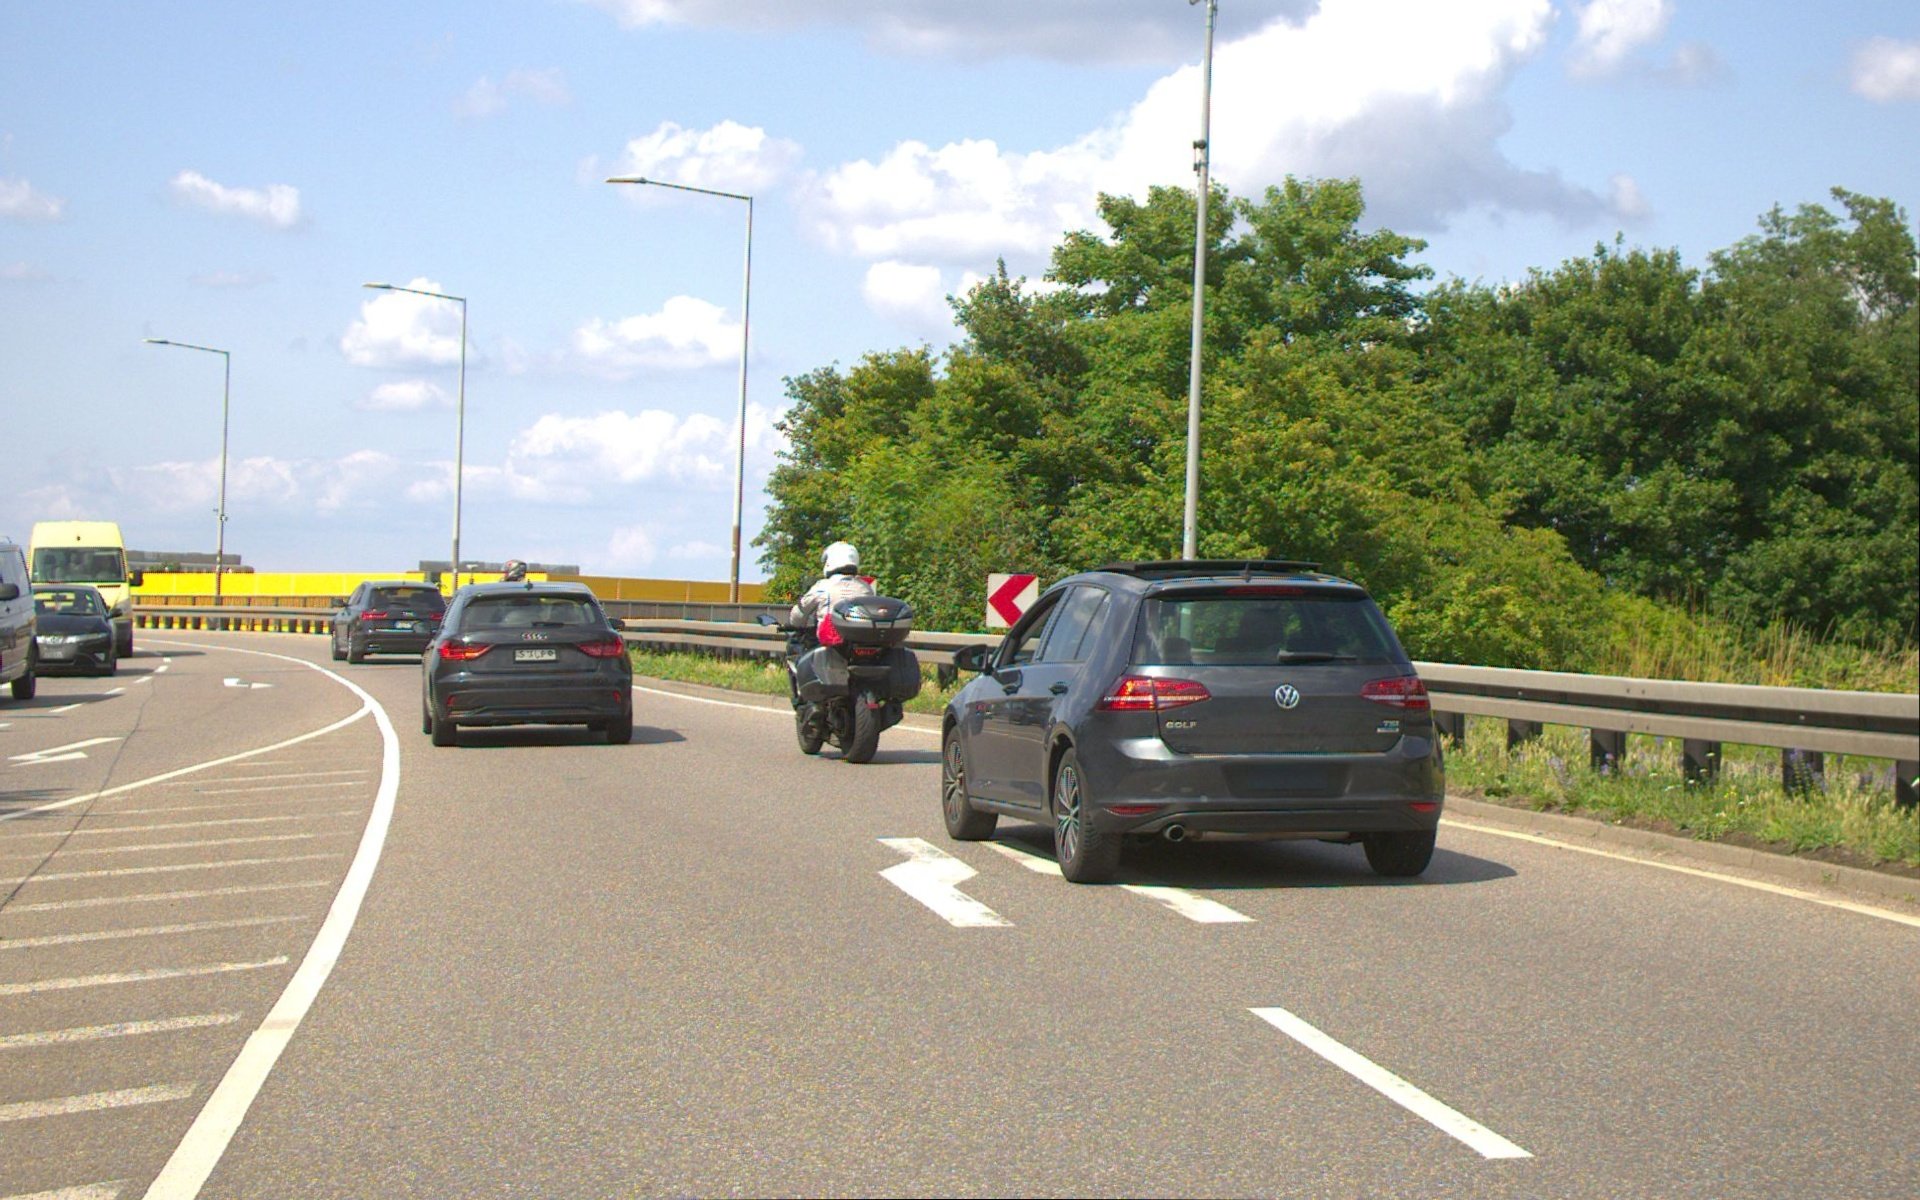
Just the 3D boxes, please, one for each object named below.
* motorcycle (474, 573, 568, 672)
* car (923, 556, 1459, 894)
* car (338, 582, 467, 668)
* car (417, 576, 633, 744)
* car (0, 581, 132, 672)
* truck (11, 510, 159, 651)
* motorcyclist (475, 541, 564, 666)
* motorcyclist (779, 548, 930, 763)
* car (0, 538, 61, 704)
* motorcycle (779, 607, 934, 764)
[{"bbox_3d":[-5.691,0.274,44.472,0.887,1.243,2.400,1,0,-15],"label":"motorcycle"},{"bbox_3d":[1.013,0.556,17.067,1.642,1.474,3.873,0,0,-12],"label":"car"},{"bbox_3d":[-9.848,0.437,60.568,1.642,1.474,3.873,0,0,-18],"label":"car"},{"bbox_3d":[-3.921,0.520,30.594,1.681,1.383,3.740,0,-1,-11],"label":"car"},{"bbox_3d":[-14.258,0.399,54.780,1.798,1.384,4.007,0,0,-10],"label":"car"},{"bbox_3d":[-17.220,-0.397,67.473,1.993,2.612,6.105,-2,1,-21],"label":"truck"},{"bbox_3d":[-5.704,0.043,44.483,0.965,1.590,1.125,1,0,-15],"label":"motorcyclist"},{"bbox_3d":[-0.823,0.421,26.500,0.965,1.615,1.125,1,0,-12],"label":"motorcyclist"},{"bbox_3d":[-12.153,0.233,40.896,1.993,1.907,5.133,-1,1,-5],"label":"car"},{"bbox_3d":[-0.818,0.633,26.392,0.789,1.128,2.400,1,0,-11],"label":"motorcycle"}]
